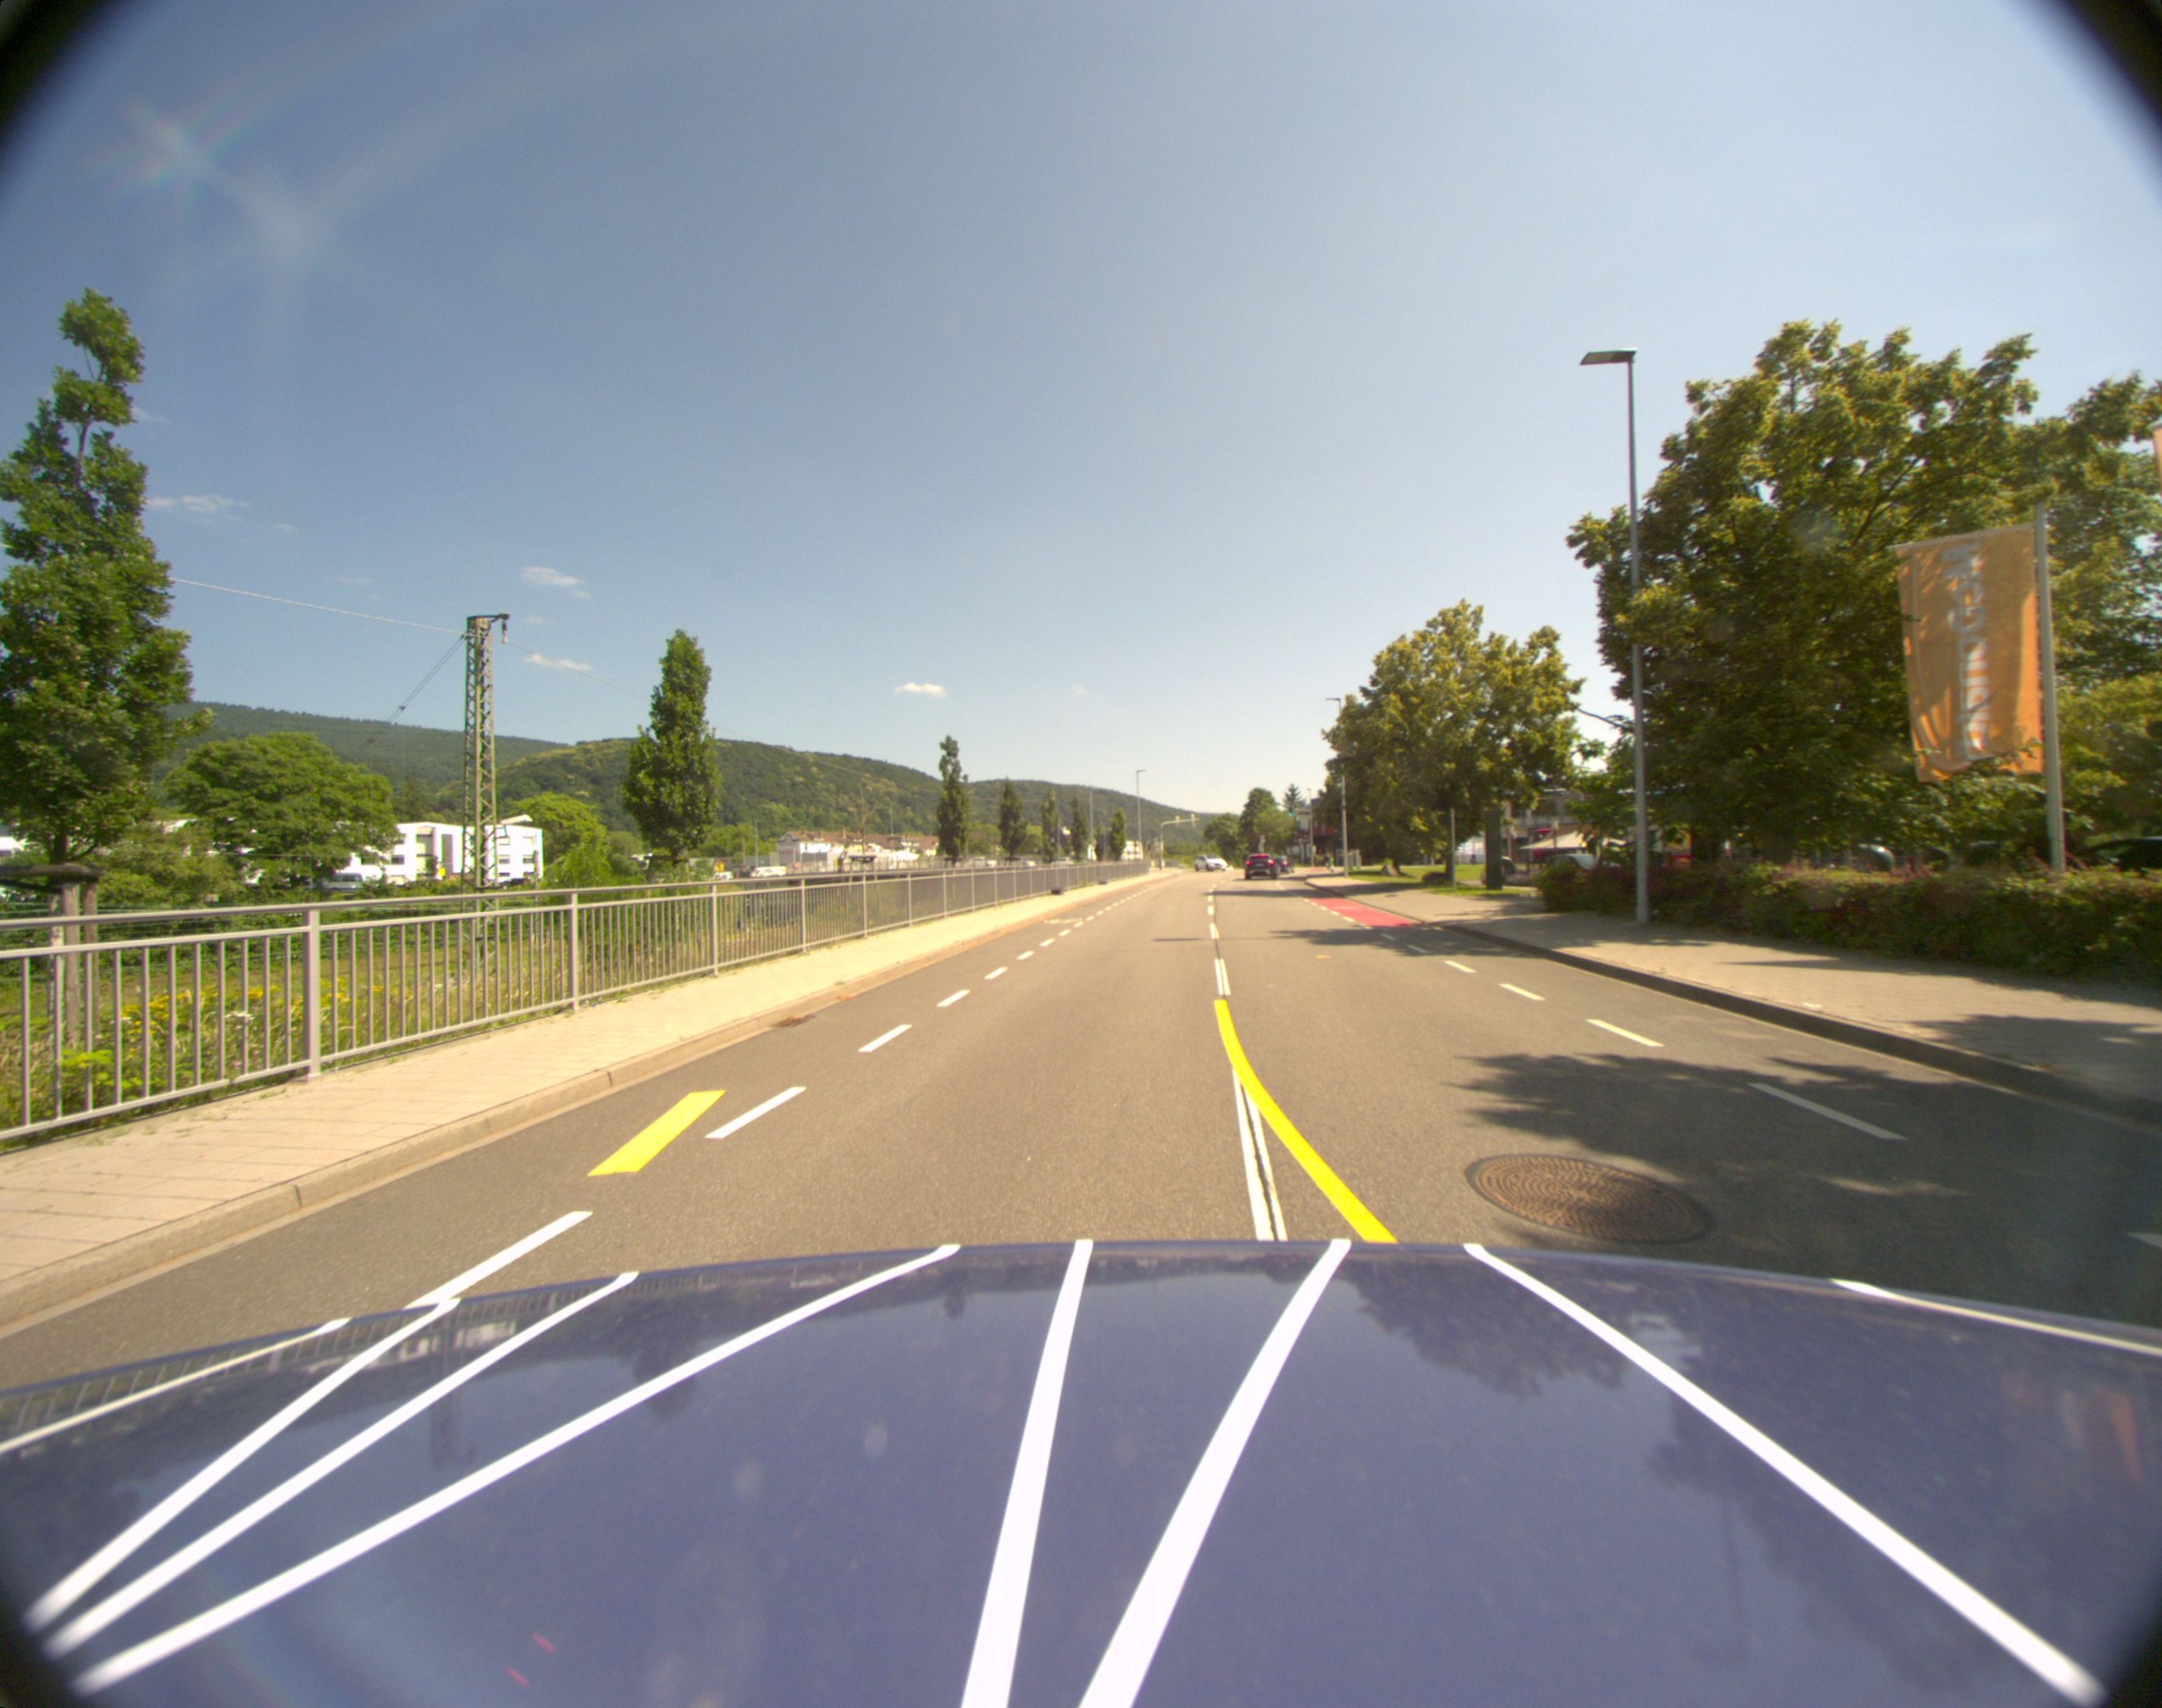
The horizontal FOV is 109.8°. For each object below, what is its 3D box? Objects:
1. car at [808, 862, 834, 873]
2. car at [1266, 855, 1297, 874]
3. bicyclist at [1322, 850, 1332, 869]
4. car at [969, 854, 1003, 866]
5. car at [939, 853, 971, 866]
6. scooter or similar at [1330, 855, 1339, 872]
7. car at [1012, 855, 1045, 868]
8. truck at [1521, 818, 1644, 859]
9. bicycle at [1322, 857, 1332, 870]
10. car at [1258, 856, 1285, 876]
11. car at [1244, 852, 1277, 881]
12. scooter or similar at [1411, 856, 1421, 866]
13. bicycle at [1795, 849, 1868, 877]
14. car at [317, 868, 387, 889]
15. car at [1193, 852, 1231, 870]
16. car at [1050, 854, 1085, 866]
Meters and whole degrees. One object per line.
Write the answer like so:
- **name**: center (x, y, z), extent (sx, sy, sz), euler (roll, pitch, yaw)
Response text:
- **car**: center (-43.468, 2.245, 127.003), extent (4.431, 1.616, 1.741), euler (-3, -3, 31)
- **car**: center (16.410, 0.819, 61.963), extent (1.781, 1.488, 4.730), euler (-1, 0, 23)
- **bicyclist**: center (22.423, 0.502, 69.288), extent (0.711, 1.778, 0.810), euler (-1, 0, 25)
- **car**: center (-13.422, 0.852, 107.168), extent (4.431, 1.616, 1.740), euler (-2, -1, 26)
- **car**: center (-18.214, 0.804, 109.887), extent (4.431, 1.617, 1.740), euler (-2, 0, 29)
- **scooter or similar**: center (18.573, 0.687, 55.723), extent (0.472, 1.177, 1.368), euler (-1, 0, 25)
- **car**: center (-7.177, 0.984, 103.387), extent (4.430, 1.616, 1.740), euler (-2, -1, 38)
- **truck**: center (45.775, -1.349, 69.632), extent (9.143, 3.366, 3.321), euler (-2, -1, 34)
- **bicycle**: center (22.452, 0.847, 69.272), extent (0.697, 1.098, 1.758), euler (1, 1, 24)
- **car**: center (13.819, 0.867, 54.996), extent (1.658, 1.372, 4.005), euler (-1, 0, 17)
- **car**: center (11.490, 0.768, 48.503), extent (1.953, 1.685, 4.618), euler (-1, 0, 14)
- **scooter or similar**: center (37.022, 0.747, 83.968), extent (0.499, 1.117, 1.507), euler (-1, 0, 44)
- **bicycle**: center (27.176, 0.350, 27.535), extent (1.853, 0.986, 0.309), euler (-1, 0, 38)
- **car**: center (-77.281, 2.582, 80.673), extent (1.996, 2.100, 4.997), euler (-1, 0, 17)
- **car**: center (13.419, 0.726, 77.966), extent (2.001, 1.709, 4.626), euler (-1, 0, -17)
- **car**: center (-1.805, 0.825, 99.035), extent (4.398, 1.460, 1.740), euler (-2, -1, 38)
